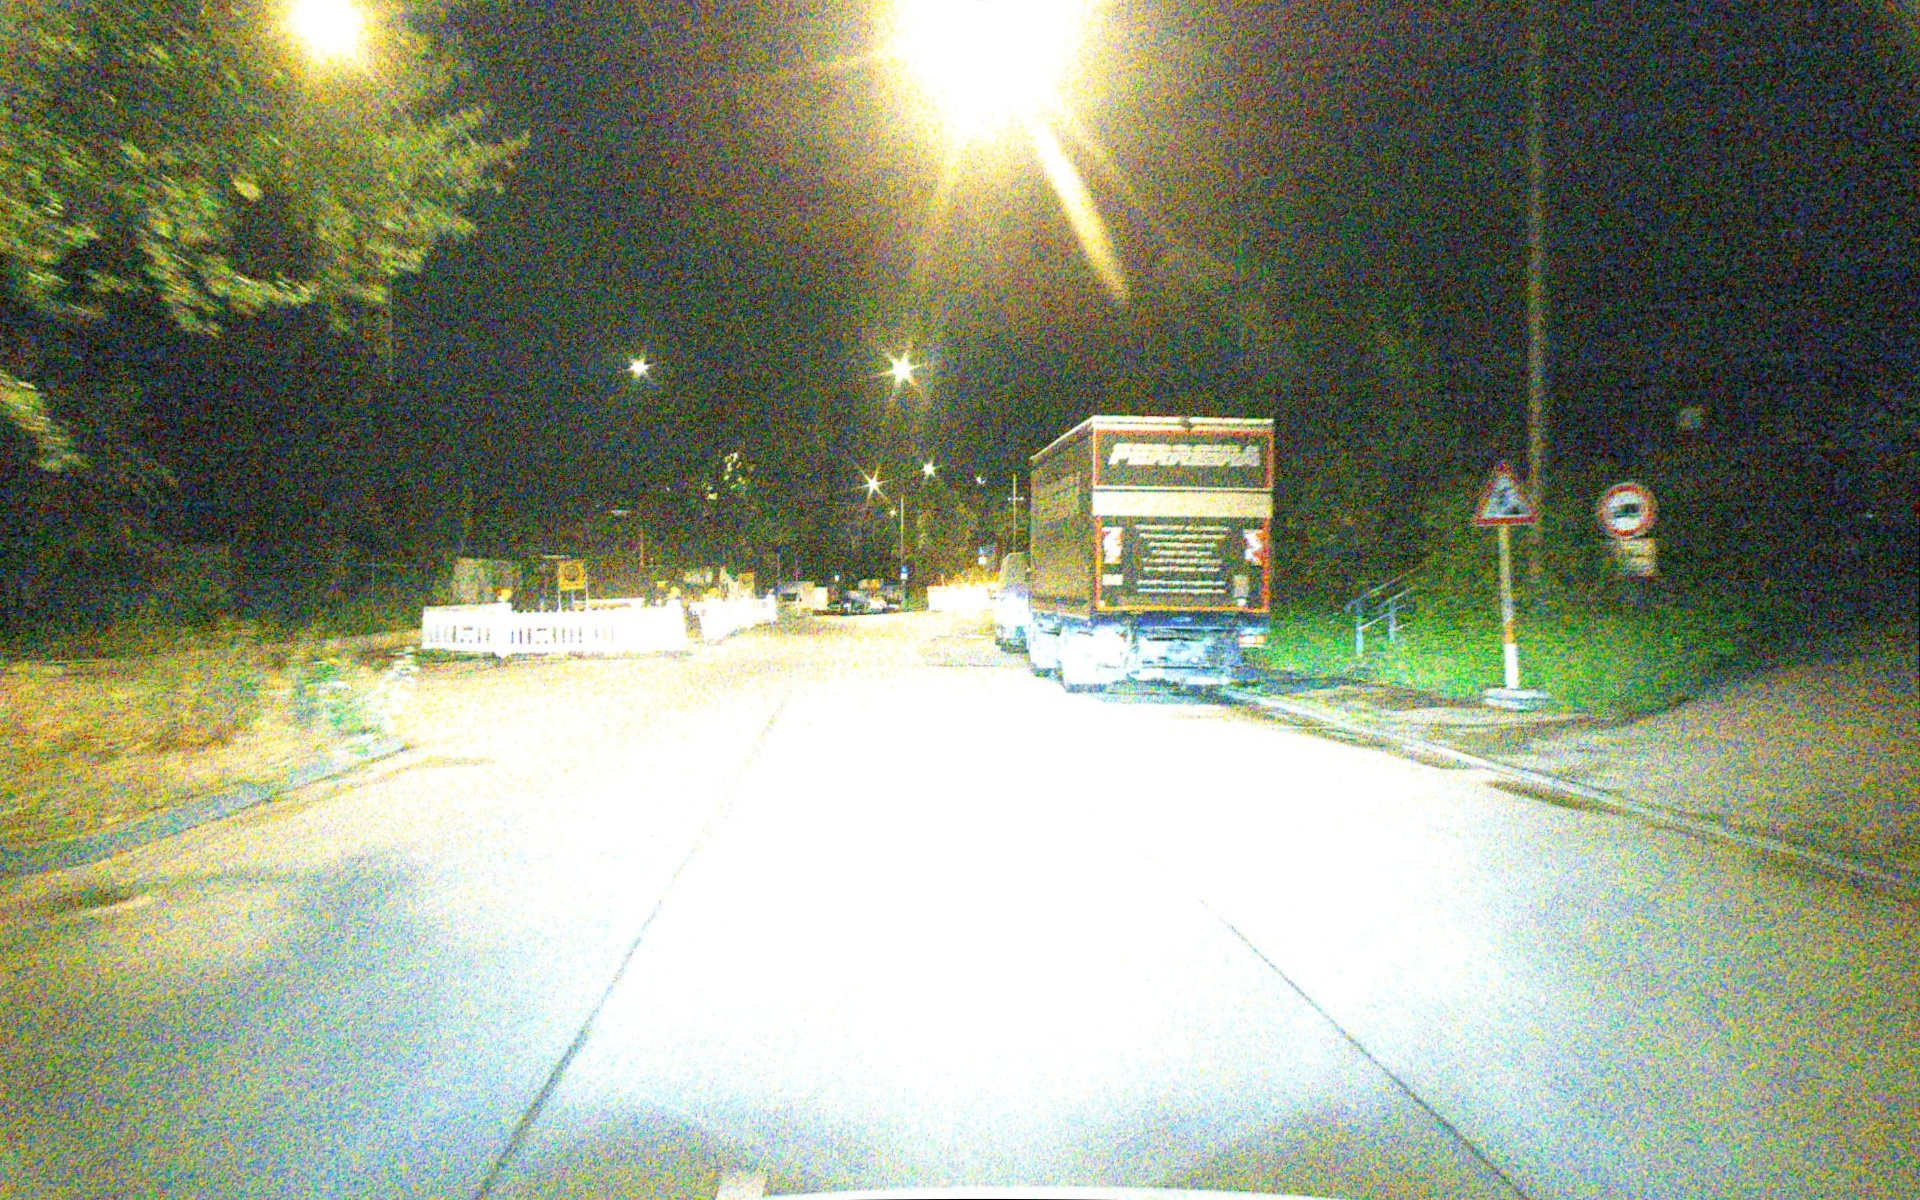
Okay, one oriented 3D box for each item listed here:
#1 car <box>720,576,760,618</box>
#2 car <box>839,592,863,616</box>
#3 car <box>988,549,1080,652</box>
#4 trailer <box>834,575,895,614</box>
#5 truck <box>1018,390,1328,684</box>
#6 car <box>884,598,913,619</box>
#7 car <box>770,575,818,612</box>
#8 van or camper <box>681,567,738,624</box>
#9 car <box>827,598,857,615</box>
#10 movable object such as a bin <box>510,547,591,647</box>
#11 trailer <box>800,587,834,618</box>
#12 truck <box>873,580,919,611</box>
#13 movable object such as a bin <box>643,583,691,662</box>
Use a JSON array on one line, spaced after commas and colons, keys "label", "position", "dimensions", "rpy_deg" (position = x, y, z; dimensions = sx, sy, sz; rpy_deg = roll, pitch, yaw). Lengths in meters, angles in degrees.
[{"label": "car", "position": [-16.579, -0.234, 124.984], "dimensions": [2.470, 2.978, 7.194], "rpy_deg": [-3, 0, -5]}, {"label": "car", "position": [-7.788, 0.326, 118.619], "dimensions": [1.686, 1.690, 3.997], "rpy_deg": [0, -1, -3]}, {"label": "car", "position": [1.912, -0.051, 44.523], "dimensions": [2.066, 2.560, 6.370], "rpy_deg": [0, 1, -1]}, {"label": "trailer", "position": [-6.014, -0.335, 103.932], "dimensions": [1.543, 2.198, 5.167], "rpy_deg": [-3, 0, -31]}, {"label": "truck", "position": [3.052, -0.887, 26.943], "dimensions": [3.258, 3.936, 9.321], "rpy_deg": [-1, 0, -4]}, {"label": "car", "position": [-5.433, 0.745, 147.387], "dimensions": [1.684, 1.853, 4.003], "rpy_deg": [-1, -1, 11]}, {"label": "car", "position": [-15.325, -0.596, 153.442], "dimensions": [2.465, 3.226, 7.144], "rpy_deg": [-3, 0, 10]}, {"label": "van or camper", "position": [-15.099, -0.271, 100.195], "dimensions": [2.469, 3.148, 7.441], "rpy_deg": [-3, 0, -2]}, {"label": "car", "position": [-12.177, 0.659, 170.887], "dimensions": [1.951, 1.729, 4.210], "rpy_deg": [-1, -1, 11]}, {"label": "movable object such as a bin", "position": [-10.892, -0.073, 43.929], "dimensions": [1.528, 2.510, 2.818], "rpy_deg": [-2, 0, -24]}, {"label": "trailer", "position": [-13.849, 0.229, 160.208], "dimensions": [1.951, 2.862, 4.707], "rpy_deg": [-1, 1, 11]}, {"label": "truck", "position": [-7.271, -0.563, 189.470], "dimensions": [1.952, 3.463, 8.982], "rpy_deg": [0, 1, 20]}, {"label": "movable object such as a bin", "position": [-11.084, 0.792, 62.595], "dimensions": [1.542, 2.781, 3.692], "rpy_deg": [-4, 2, -10]}]
